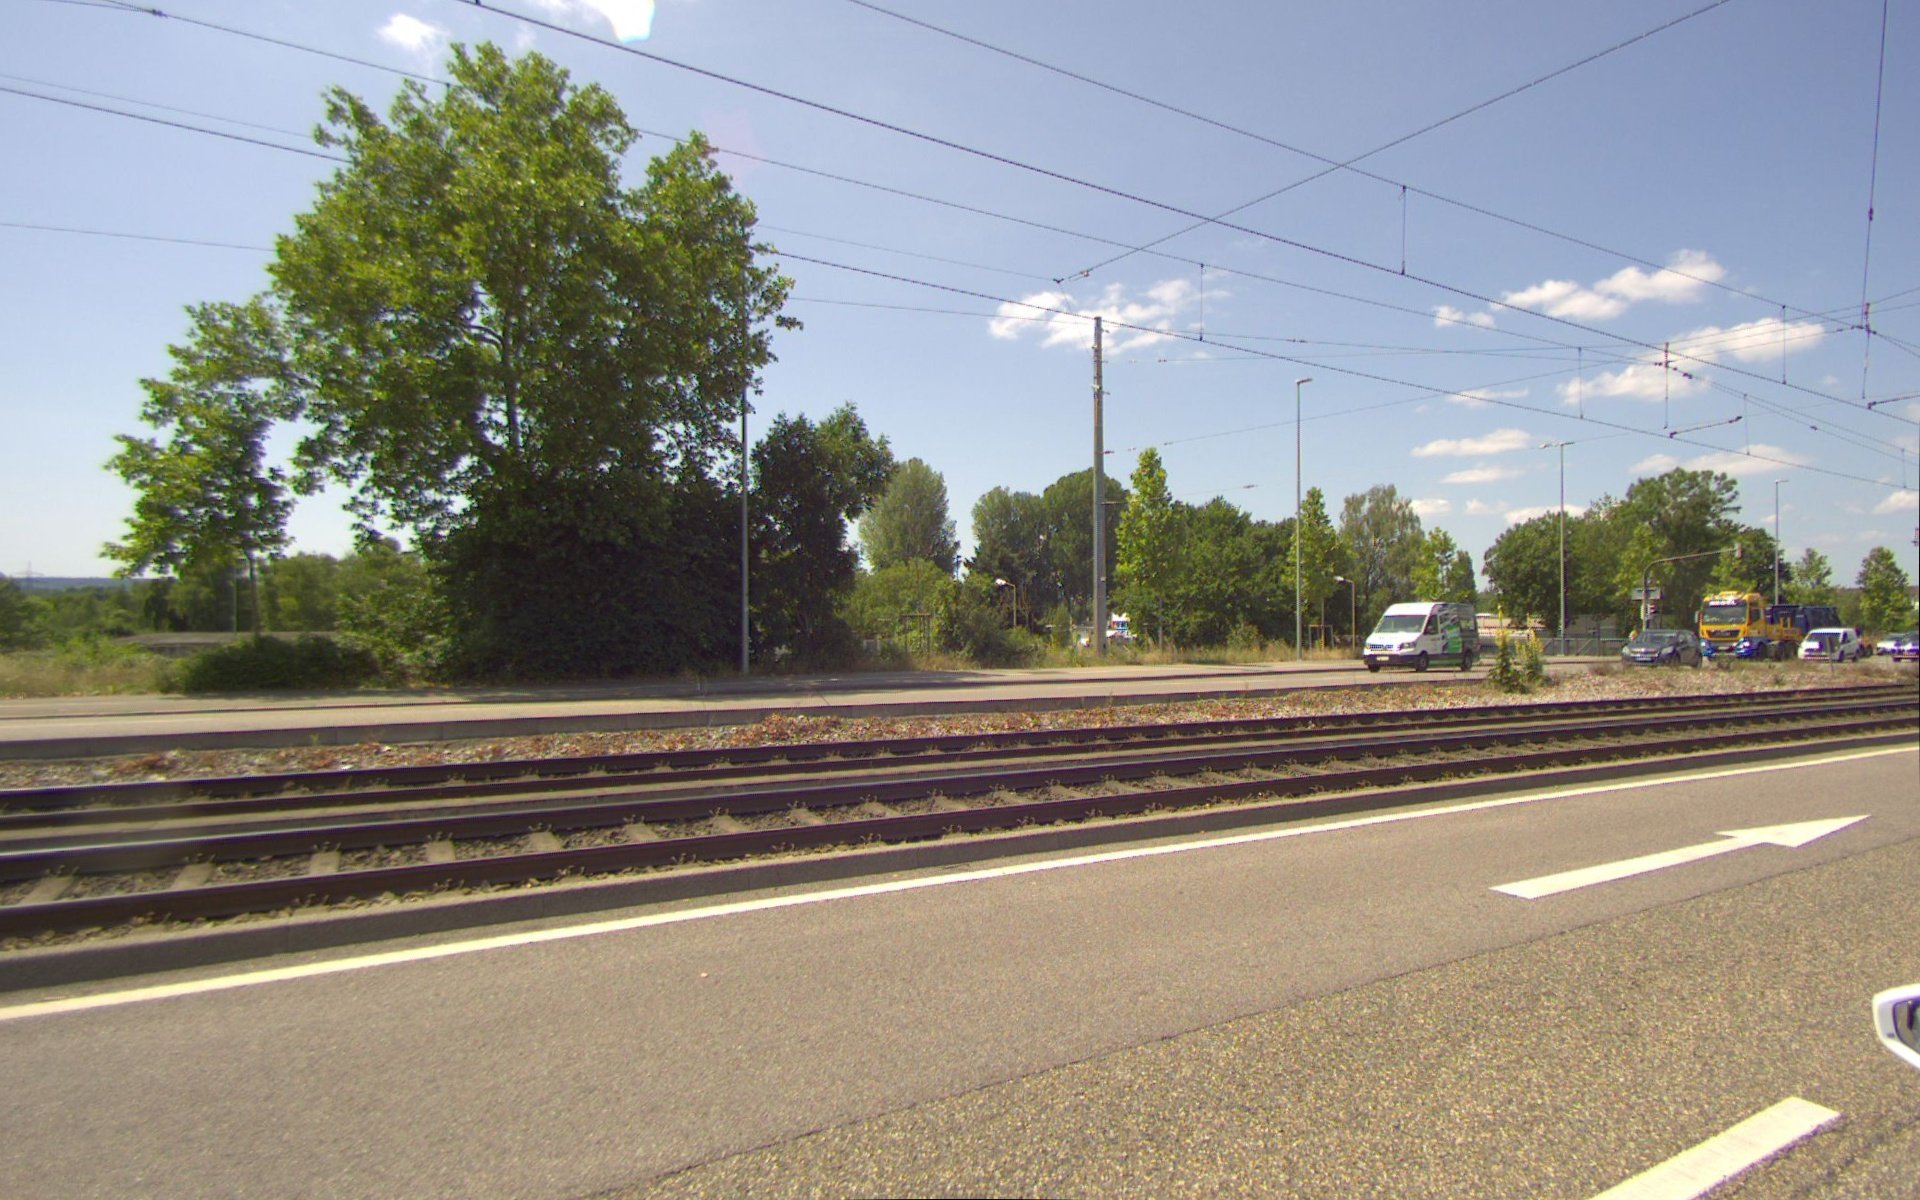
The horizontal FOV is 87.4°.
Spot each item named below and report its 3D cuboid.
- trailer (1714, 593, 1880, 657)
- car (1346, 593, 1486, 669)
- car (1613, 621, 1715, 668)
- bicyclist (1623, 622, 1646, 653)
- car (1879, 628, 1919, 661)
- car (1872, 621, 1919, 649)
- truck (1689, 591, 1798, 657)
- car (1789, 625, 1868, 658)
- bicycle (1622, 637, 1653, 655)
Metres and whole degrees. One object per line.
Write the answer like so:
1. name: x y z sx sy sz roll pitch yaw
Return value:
1. trailer: 51.321 1.554 61.293 15.694 3.565 2.753 1 0 -31
2. car: 17.113 1.168 37.532 6.182 2.623 2.225 1 -3 -39
3. car: 28.065 1.732 40.015 4.413 1.693 1.811 1 1 -33
4. bicyclist: 40.318 2.239 60.049 0.337 1.798 1.111 1 0 -34
5. car: 51.913 2.389 54.357 4.404 1.693 1.815 1 1 -28
6. car: 64.678 2.419 69.067 3.953 1.842 1.793 1 0 -30
7. truck: 44.779 1.351 57.373 6.365 3.616 2.753 1 0 -31
8. car: 47.101 2.225 54.454 4.407 1.693 1.814 1 1 -29
9. bicycle: 40.376 2.707 59.875 0.481 1.000 1.482 1 0 -33
